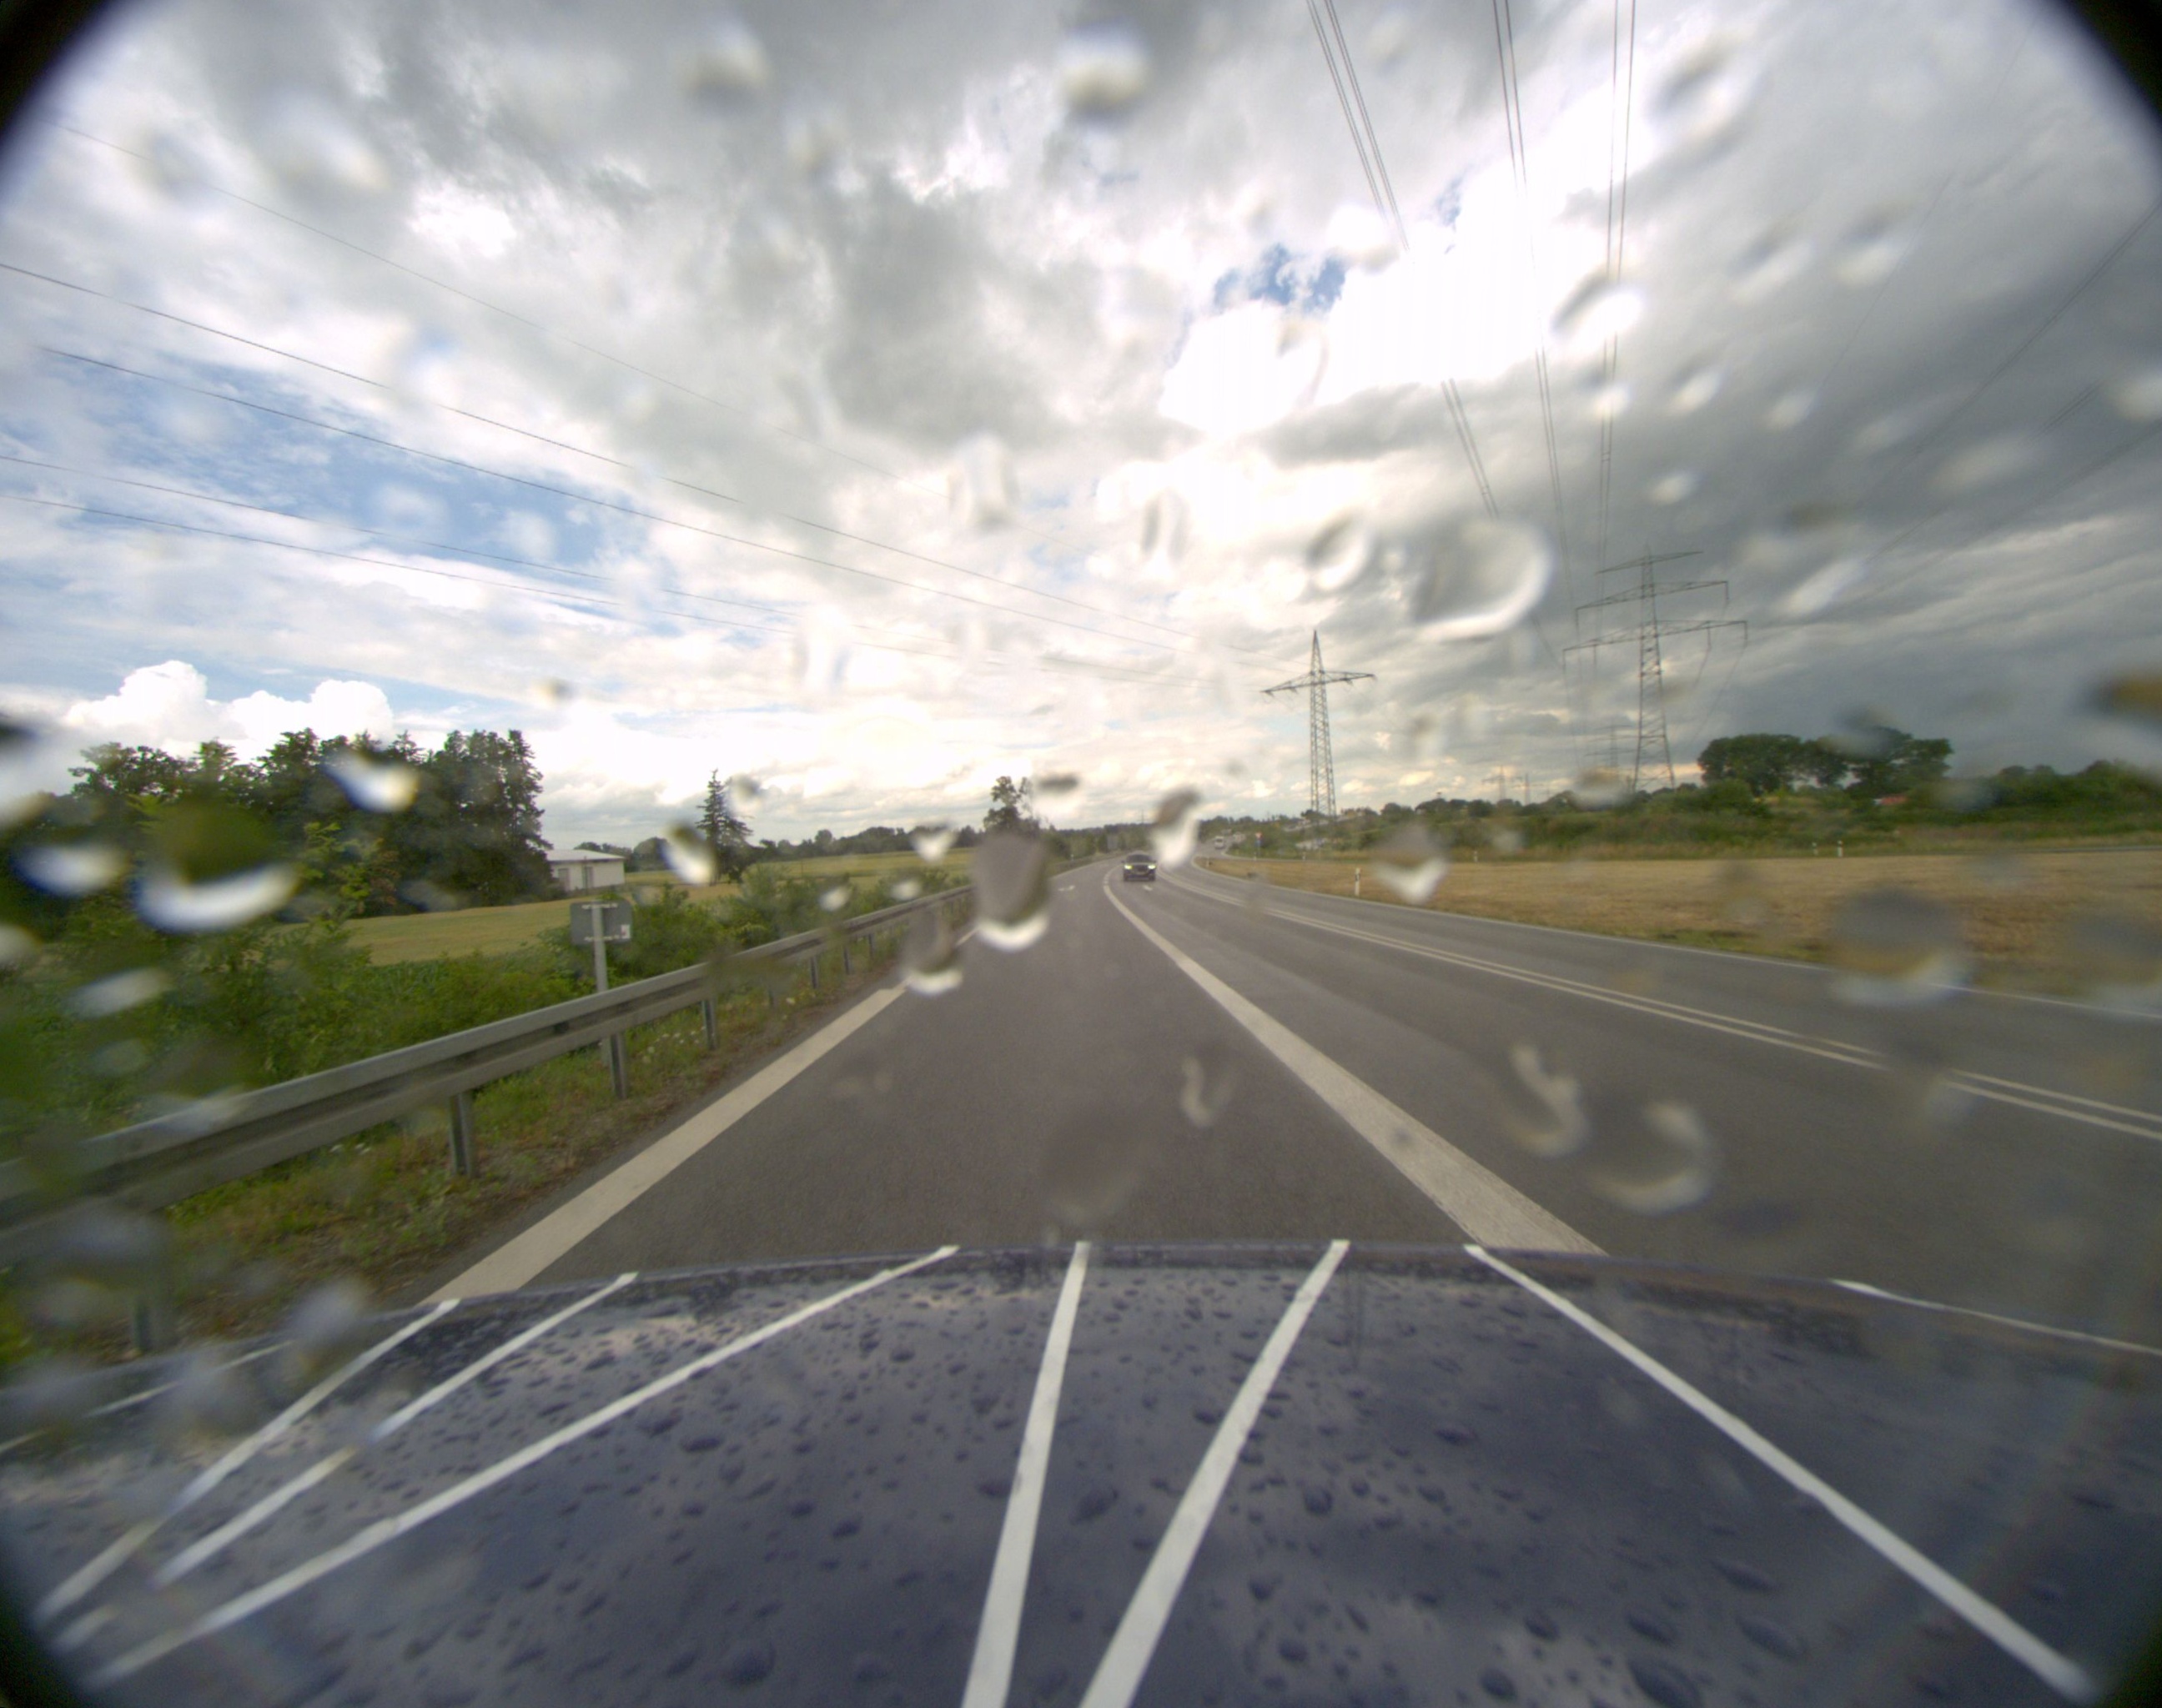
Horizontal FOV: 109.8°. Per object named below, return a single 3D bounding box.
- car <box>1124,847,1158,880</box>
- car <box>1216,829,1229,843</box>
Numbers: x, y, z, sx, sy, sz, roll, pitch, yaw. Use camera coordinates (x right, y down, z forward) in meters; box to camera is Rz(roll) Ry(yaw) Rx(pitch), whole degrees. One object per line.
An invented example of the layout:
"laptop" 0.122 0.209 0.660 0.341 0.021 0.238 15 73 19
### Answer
"car" 3.537 0.516 45.585 1.796 1.759 3.999 -2 2 2
"car" 30.691 -3.916 164.437 2.210 2.735 6.023 -3 4 14
